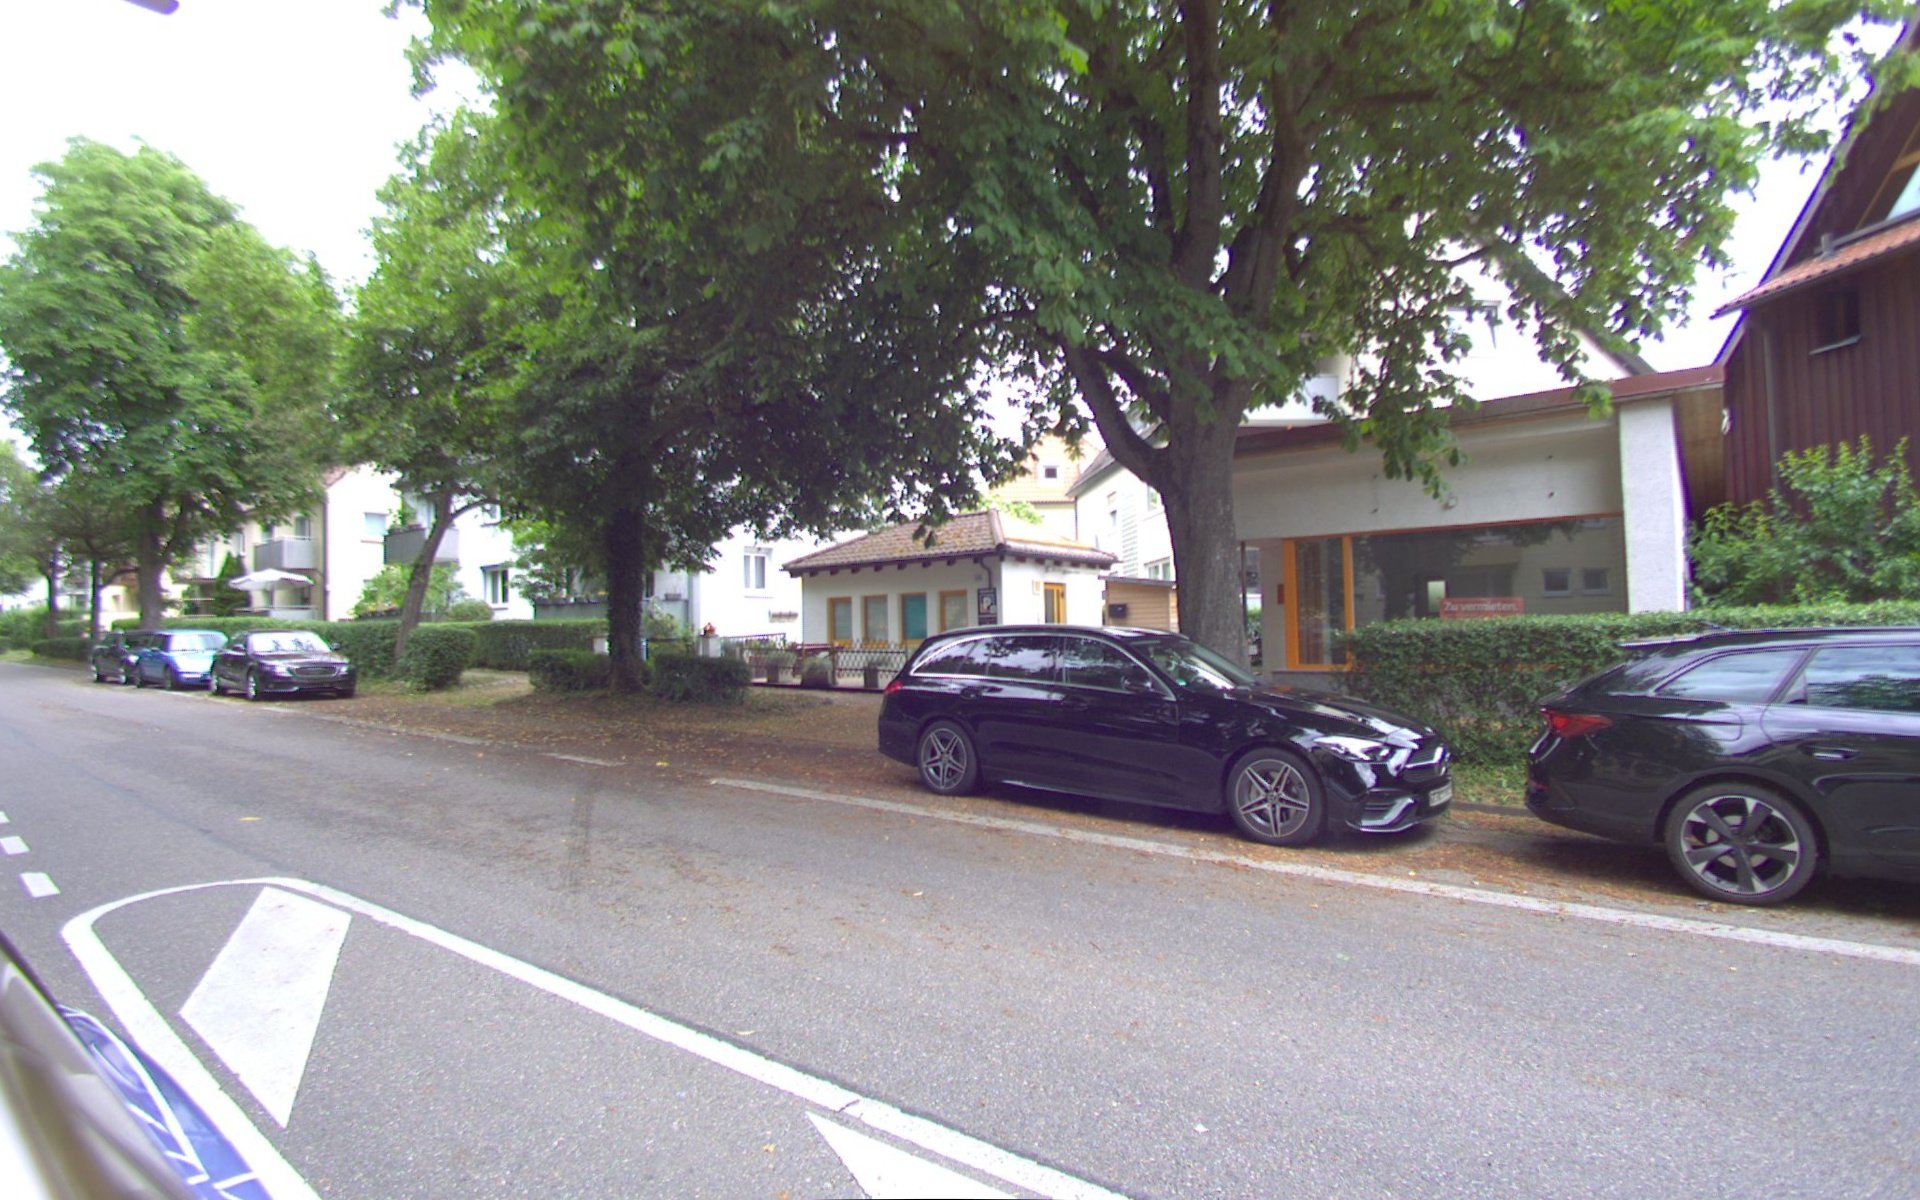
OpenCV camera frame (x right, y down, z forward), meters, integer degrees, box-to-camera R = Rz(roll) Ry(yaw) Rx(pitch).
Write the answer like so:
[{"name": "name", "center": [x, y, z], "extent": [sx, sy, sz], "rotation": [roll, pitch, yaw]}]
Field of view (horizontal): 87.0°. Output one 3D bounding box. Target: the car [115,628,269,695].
[{"name": "car", "center": [-18.914, 1.467, 24.863], "extent": [4.558, 1.512, 1.866], "rotation": [-2, -3, 37]}]

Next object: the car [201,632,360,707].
[{"name": "car", "center": [-14.220, 1.381, 21.096], "extent": [4.169, 1.414, 1.713], "rotation": [-2, -3, 41]}]

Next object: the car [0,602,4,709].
[{"name": "car", "center": [-6.513, 0.802, 5.118], "extent": [4.612, 1.511, 1.973], "rotation": [-2, -3, 41]}]

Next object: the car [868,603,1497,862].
[{"name": "car", "center": [1.557, 0.866, 8.203], "extent": [4.612, 1.511, 1.973], "rotation": [-2, -3, 41]}]

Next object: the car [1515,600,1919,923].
[{"name": "car", "center": [5.452, 0.757, 4.991], "extent": [4.536, 1.497, 1.674], "rotation": [-2, -3, 38]}]

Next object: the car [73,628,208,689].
[{"name": "car", "center": [-22.603, 1.567, 27.855], "extent": [4.558, 1.545, 1.866], "rotation": [-2, -3, 37]}]
